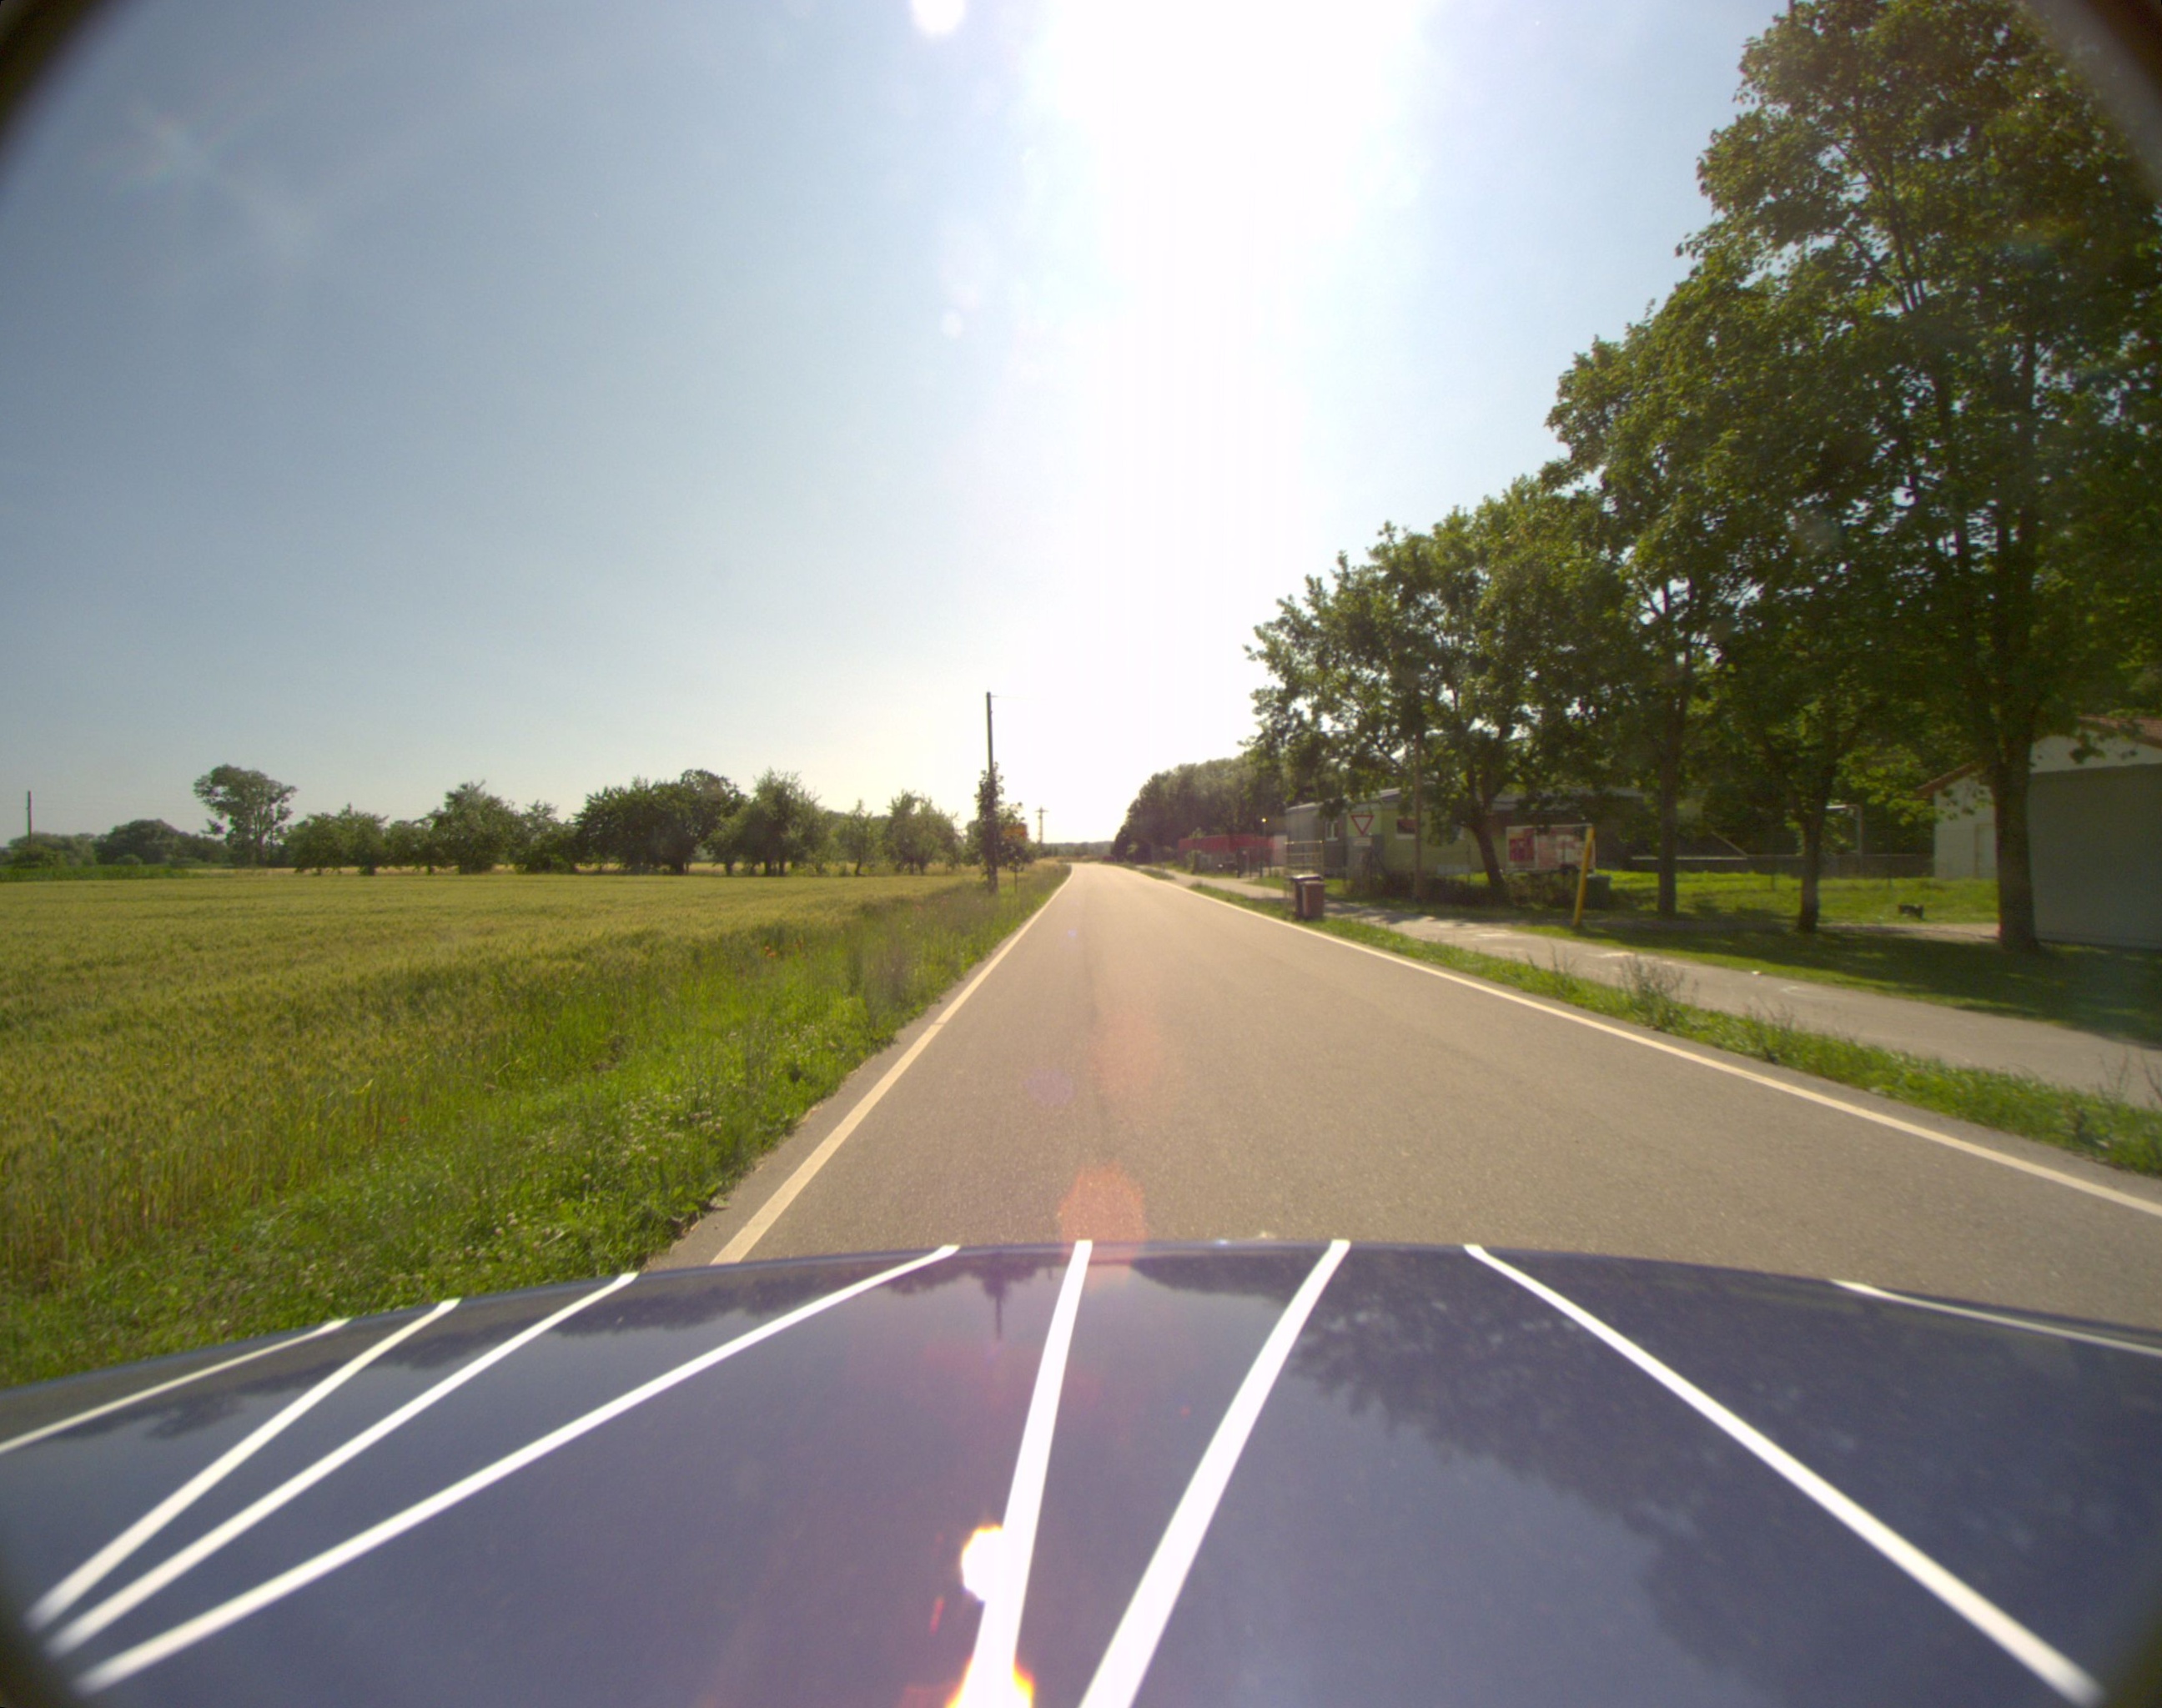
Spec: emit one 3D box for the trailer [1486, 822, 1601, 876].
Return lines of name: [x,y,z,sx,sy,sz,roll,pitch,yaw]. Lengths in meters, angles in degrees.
trailer: [20.173,-0.223,33.191,4.239,2.264,1.826,0,0,-14]

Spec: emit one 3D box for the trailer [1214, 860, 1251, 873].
trailer: [10.590,0.852,53.190,1.635,0.861,3.356,0,0,-6]

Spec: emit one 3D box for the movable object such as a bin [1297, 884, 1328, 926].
movable object such as a bin: [5.078,1.115,16.679,0.563,0.872,0.614,0,0,8]

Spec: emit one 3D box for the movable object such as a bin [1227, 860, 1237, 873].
movable object such as a bin: [10.016,0.836,50.368,0.640,0.871,0.654,0,0,6]

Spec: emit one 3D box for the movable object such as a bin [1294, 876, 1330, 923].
movable object such as a bin: [5.297,1.034,17.460,0.700,1.018,0.748,0,0,8]

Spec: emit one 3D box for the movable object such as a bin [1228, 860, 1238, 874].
movable object such as a bin: [9.937,0.851,49.691,0.640,0.849,0.654,0,0,6]
